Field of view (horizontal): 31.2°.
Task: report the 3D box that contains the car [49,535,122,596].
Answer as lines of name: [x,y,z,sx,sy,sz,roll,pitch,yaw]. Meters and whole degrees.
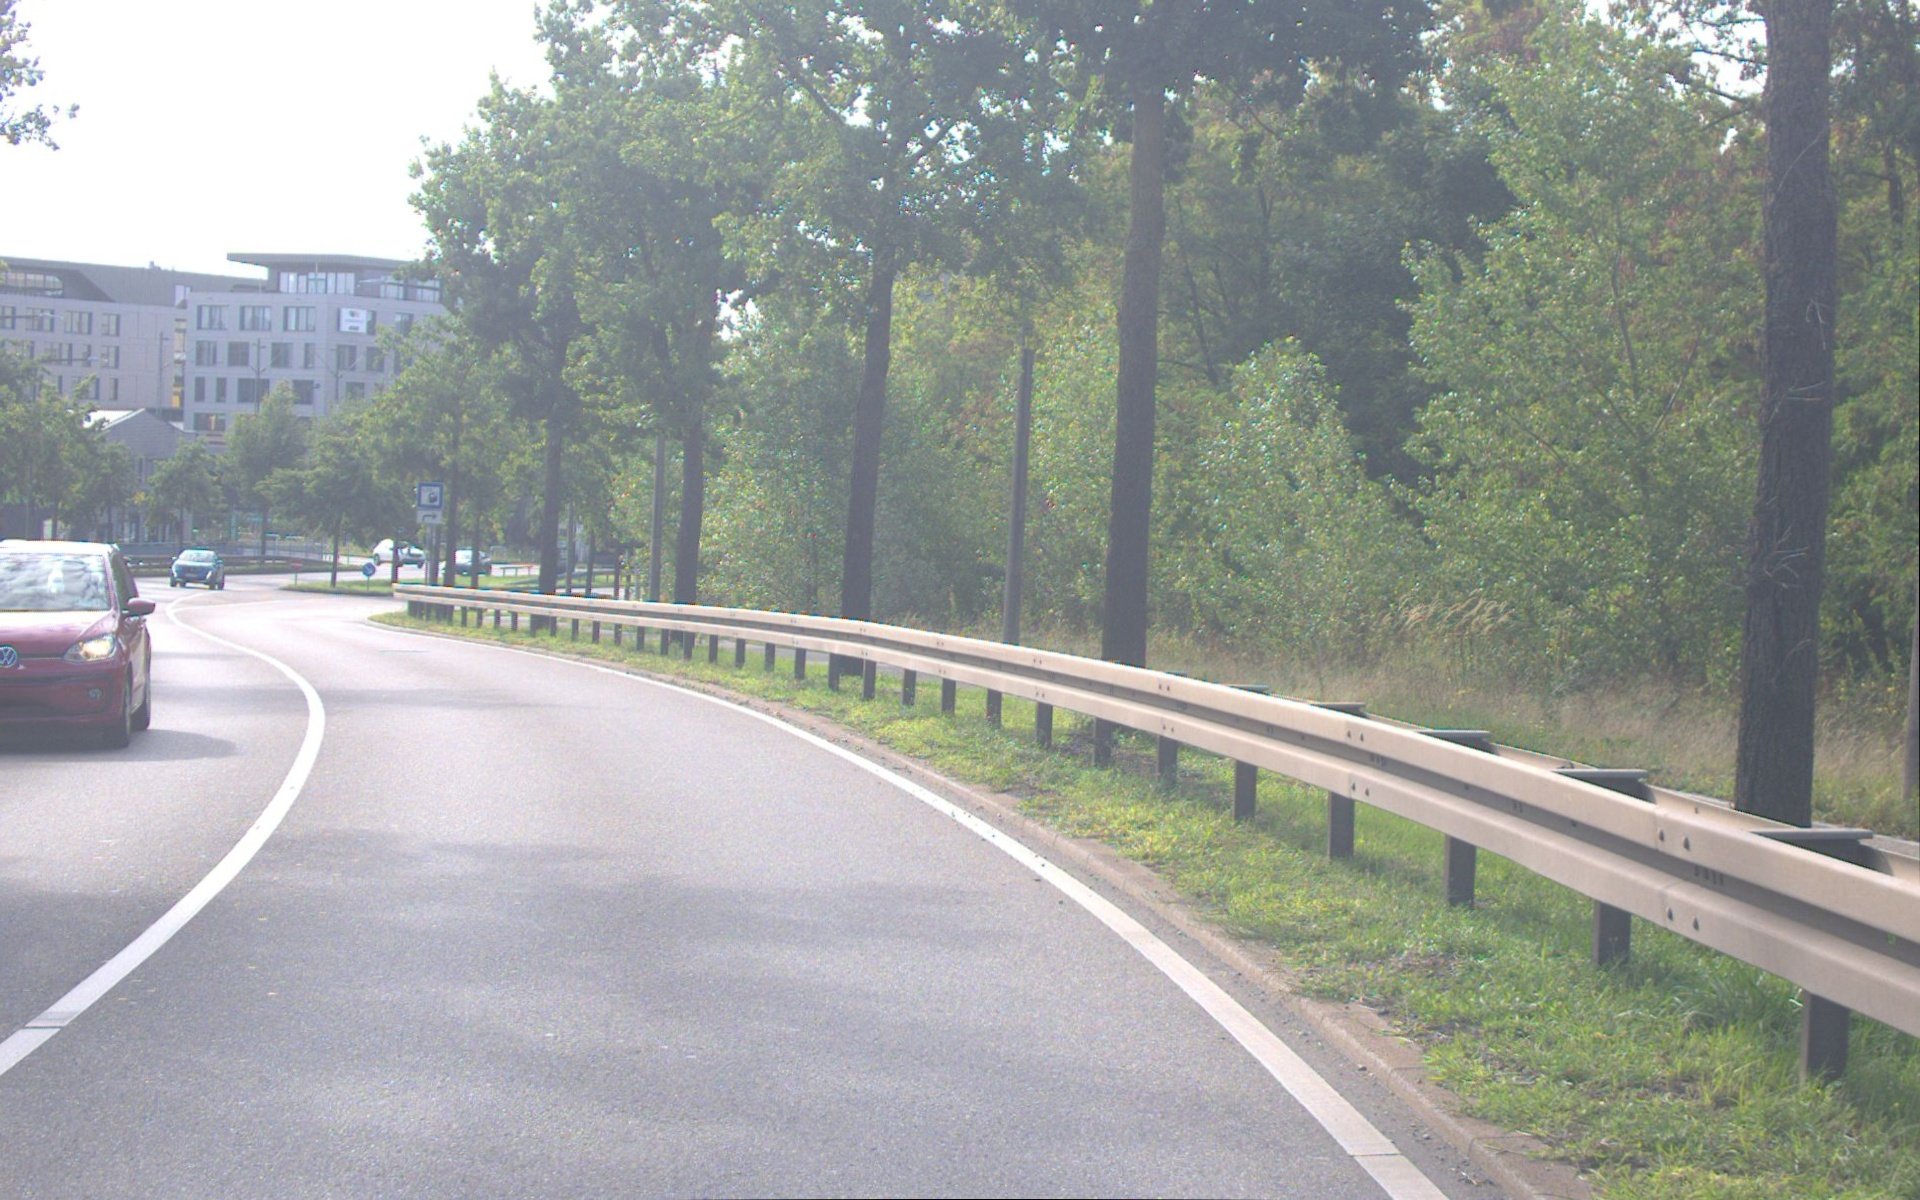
car: [-20.927,-0.847,82.342,1.567,1.420,3.592,0,1,-12]

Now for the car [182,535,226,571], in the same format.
car: [-30.560,-1.917,139.002,1.567,1.420,3.592,0,1,-10]

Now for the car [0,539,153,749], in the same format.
car: [-6.817,0.272,25.264,1.567,1.420,3.592,0,1,-11]
